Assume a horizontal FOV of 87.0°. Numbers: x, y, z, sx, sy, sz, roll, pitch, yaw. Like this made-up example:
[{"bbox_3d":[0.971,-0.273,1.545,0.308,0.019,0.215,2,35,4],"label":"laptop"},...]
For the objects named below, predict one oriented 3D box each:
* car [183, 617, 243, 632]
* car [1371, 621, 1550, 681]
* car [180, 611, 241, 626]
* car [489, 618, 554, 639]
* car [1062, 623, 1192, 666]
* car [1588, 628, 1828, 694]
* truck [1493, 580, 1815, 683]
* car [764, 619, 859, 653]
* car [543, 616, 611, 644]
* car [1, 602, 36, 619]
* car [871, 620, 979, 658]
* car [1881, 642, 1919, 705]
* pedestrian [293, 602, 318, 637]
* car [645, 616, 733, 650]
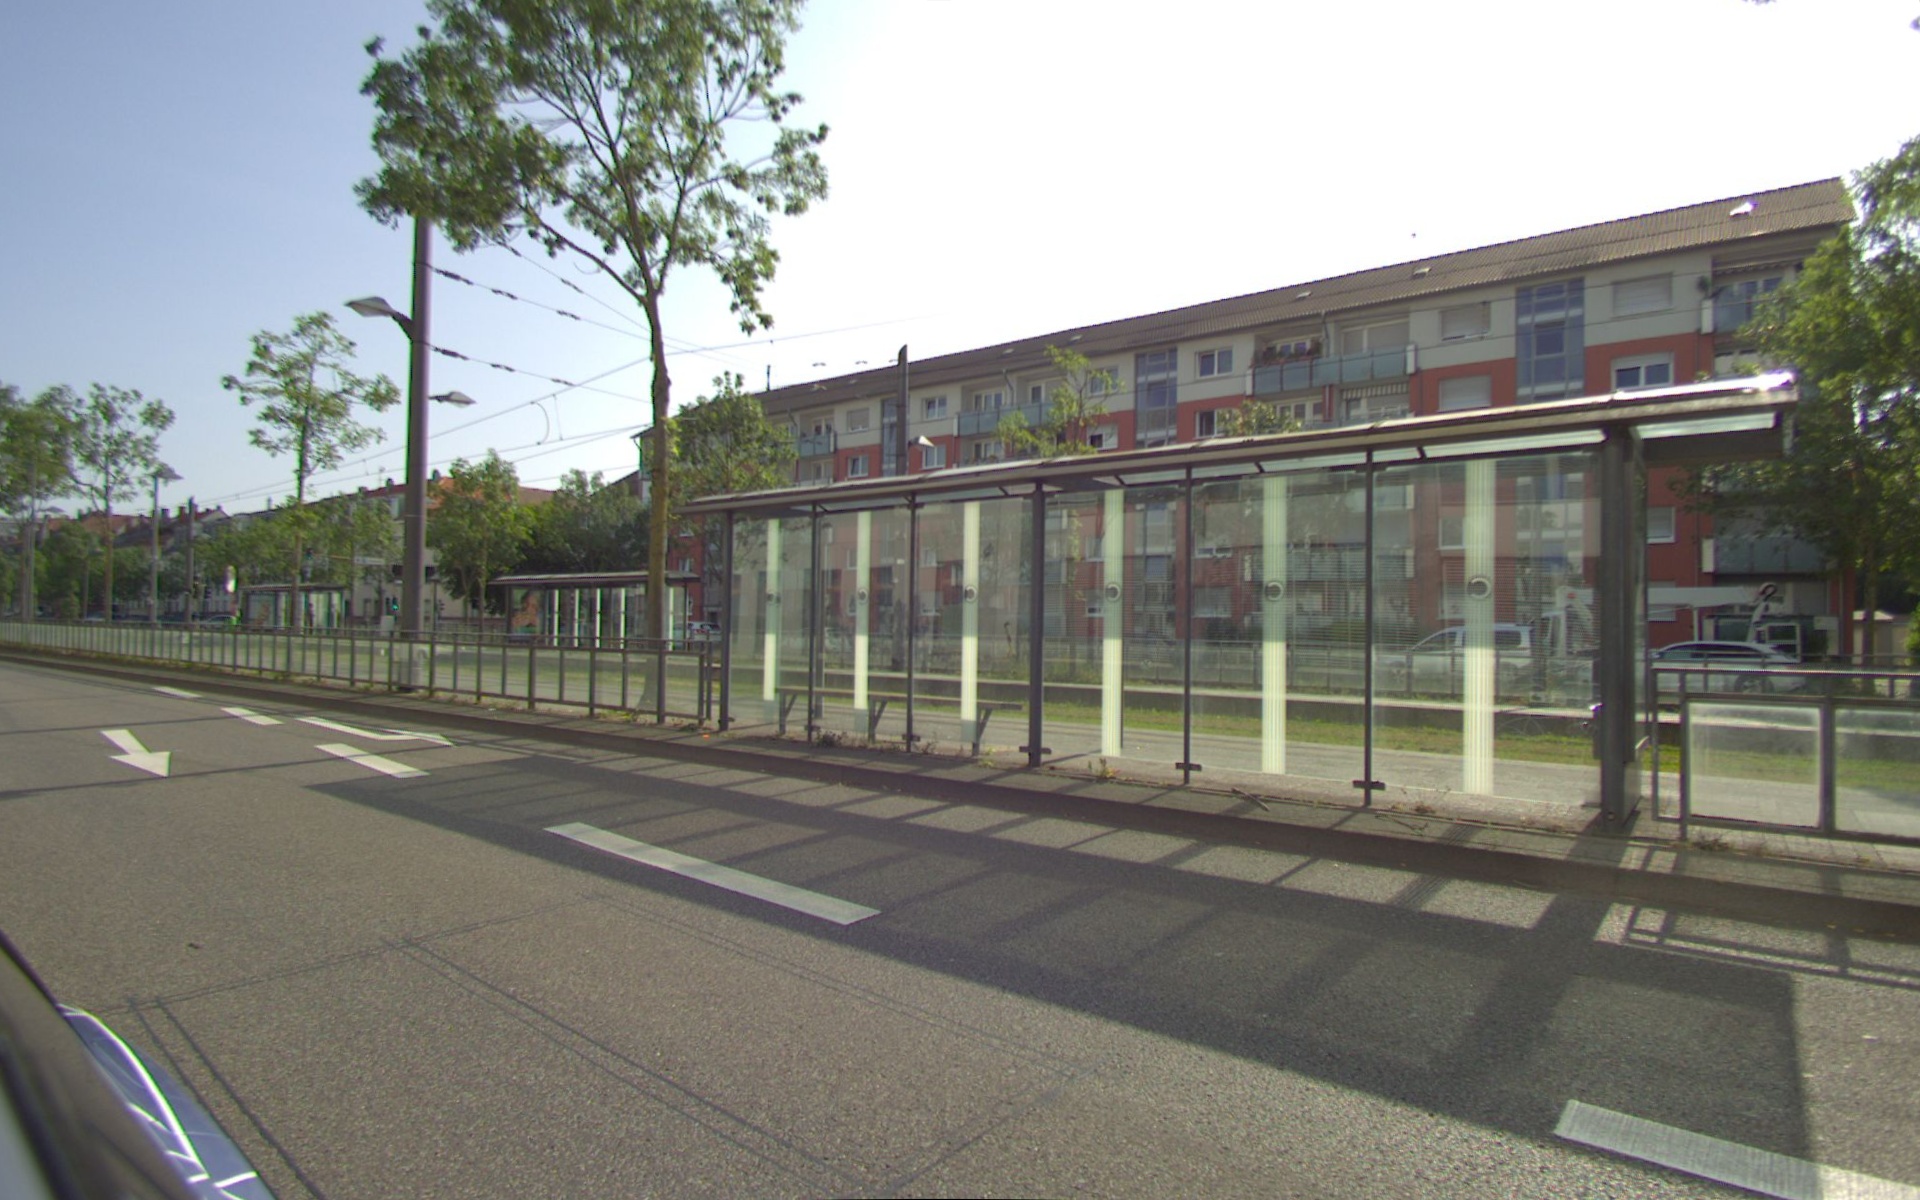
[{"bbox_3d":[-66.526,2.211,90.161,3.931,1.268,1.882,1,-2,-19],"label":"car"},{"bbox_3d":[14.125,1.376,28.646,4.274,1.525,1.962,0,0,37],"label":"car"},{"bbox_3d":[-65.050,1.622,87.889,3.930,1.279,1.893,0,0,-22],"label":"car"},{"bbox_3d":[-26.179,1.658,60.371,4.158,1.156,1.816,0,0,37],"label":"car"},{"bbox_3d":[5.823,1.514,35.390,4.063,1.371,1.962,0,0,37],"label":"car"},{"bbox_3d":[18.541,1.450,25.306,4.676,1.389,1.962,0,0,37],"label":"car"},{"bbox_3d":[19.218,0.804,28.466,7.229,2.582,2.344,0,0,37],"label":"truck"},{"bbox_3d":[-6.619,1.570,44.974,4.063,1.371,1.962,0,0,37],"label":"car"},{"bbox_3d":[-21.525,1.638,56.831,3.821,1.482,1.816,0,0,37],"label":"car"},{"bbox_3d":[-106.197,1.203,114.176,4.705,1.719,1.975,0,-5,37],"label":"car"},{"bbox_3d":[-1.454,1.546,41.038,4.063,1.371,1.962,0,0,37],"label":"car"},{"bbox_3d":[21.246,1.521,20.831,3.930,1.253,1.838,1,-2,-22],"label":"car"},{"bbox_3d":[-30.936,0.923,47.831,0.792,1.665,0.666,0,-2,34],"label":"pedestrian"},{"bbox_3d":[-13.608,1.602,50.725,4.530,1.568,1.962,0,0,37],"label":"car"}]
